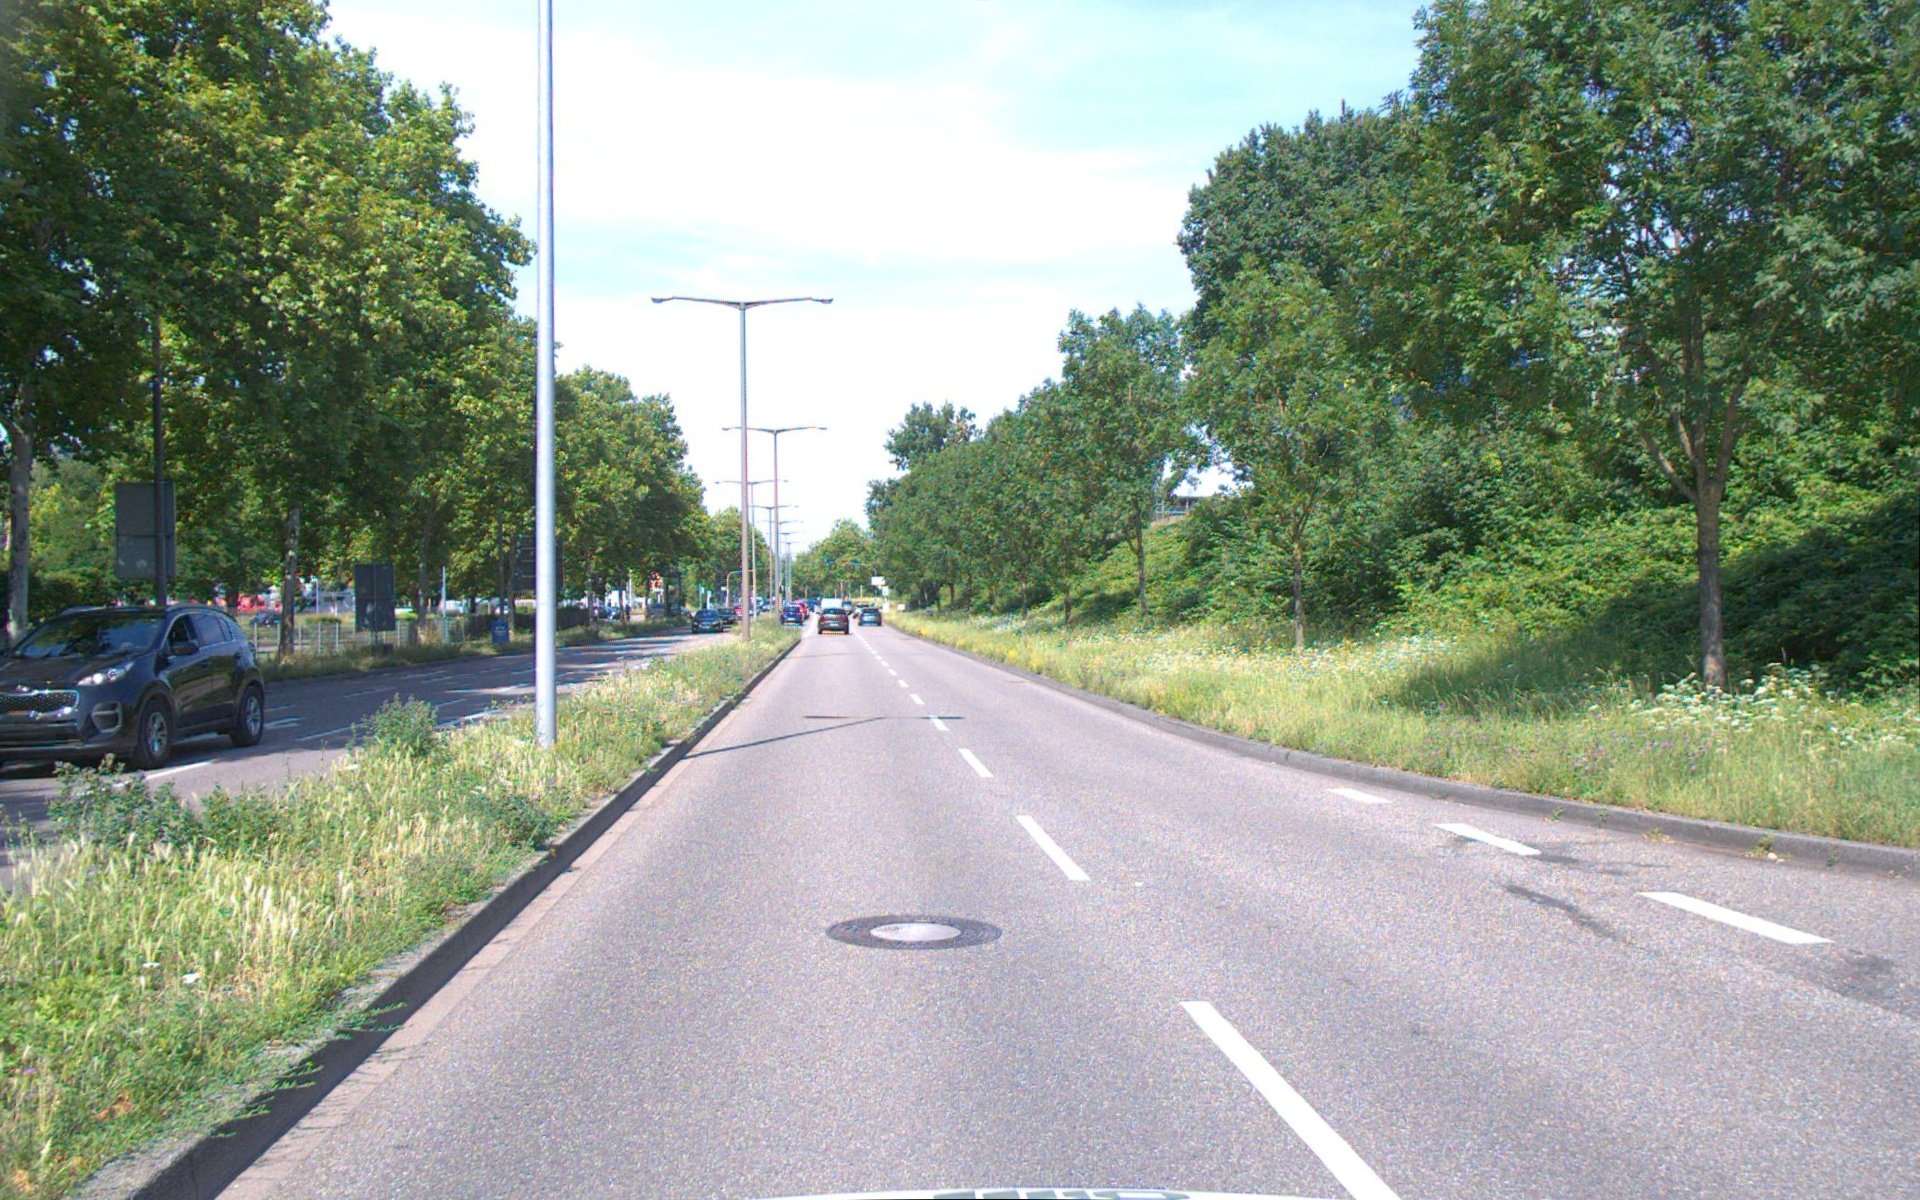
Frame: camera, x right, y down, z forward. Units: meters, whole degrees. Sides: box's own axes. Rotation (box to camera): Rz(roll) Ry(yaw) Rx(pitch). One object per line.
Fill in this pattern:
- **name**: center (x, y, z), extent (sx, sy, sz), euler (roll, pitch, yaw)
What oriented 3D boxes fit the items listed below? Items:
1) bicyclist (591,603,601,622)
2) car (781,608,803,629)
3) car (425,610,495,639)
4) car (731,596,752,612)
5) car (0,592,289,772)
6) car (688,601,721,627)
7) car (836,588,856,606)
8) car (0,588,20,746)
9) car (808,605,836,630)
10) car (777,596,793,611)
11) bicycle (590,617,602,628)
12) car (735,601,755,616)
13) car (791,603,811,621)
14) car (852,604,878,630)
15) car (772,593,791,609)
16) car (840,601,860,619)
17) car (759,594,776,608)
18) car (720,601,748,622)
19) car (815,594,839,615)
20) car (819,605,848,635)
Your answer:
- **bicyclist**: center (-30.578, 1.056, 138.796), extent (0.668, 1.511, 0.941), euler (-1, 0, -5)
- **car**: center (-12.843, 1.427, 126.403), extent (1.594, 1.509, 4.044), euler (1, 0, -5)
- **car**: center (-32.628, 1.575, 107.918), extent (3.906, 1.855, 2.156), euler (0, -1, -1)
- **car**: center (-20.874, 0.397, 158.211), extent (1.729, 1.488, 3.997), euler (-2, 0, -4)
- **car**: center (-8.975, 0.768, 17.784), extent (1.955, 1.639, 4.491), euler (-1, 1, -5)
- **car**: center (-15.897, 0.865, 103.021), extent (1.792, 1.493, 4.981), euler (-1, 0, -6)
- **car**: center (-13.123, -0.339, 190.416), extent (1.956, 2.049, 3.992), euler (0, 0, -8)
- **car**: center (-12.209, 0.827, 17.662), extent (1.955, 1.867, 4.647), euler (-1, 0, -5)
- **car**: center (-10.052, 1.256, 120.437), extent (1.955, 1.713, 3.996), euler (0, 0, -5)
- **car**: center (-23.497, 0.488, 222.279), extent (1.954, 1.892, 3.997), euler (-1, 0, -3)
- **bicycle**: center (-30.564, 1.913, 138.819), extent (0.676, 0.881, 1.924), euler (-1, 0, -5)
- **car**: center (-21.909, 0.854, 168.766), extent (1.803, 1.504, 4.161), euler (-1, 0, -5)
- **car**: center (-14.471, 1.058, 150.803), extent (1.748, 1.621, 4.588), euler (1, 0, -5)
- **car**: center (-7.468, 1.300, 129.305), extent (1.978, 1.869, 3.997), euler (0, 2, -4)
- **car**: center (-19.875, 0.120, 184.140), extent (1.954, 1.738, 4.259), euler (-1, 0, -5)
- **car**: center (-10.905, 0.966, 164.149), extent (1.954, 1.738, 4.259), euler (-1, 0, -5)
- **car**: center (-26.700, 0.146, 229.106), extent (1.953, 1.806, 3.998), euler (-1, 0, -2)
- **car**: center (-17.035, 0.844, 124.999), extent (1.737, 1.493, 4.667), euler (-2, 0, -4)
- **car**: center (-11.280, 0.379, 140.262), extent (1.954, 1.738, 4.259), euler (-1, 0, -4)
- **car**: center (-7.559, 1.167, 98.671), extent (1.702, 1.562, 3.997), euler (0, 2, -4)
